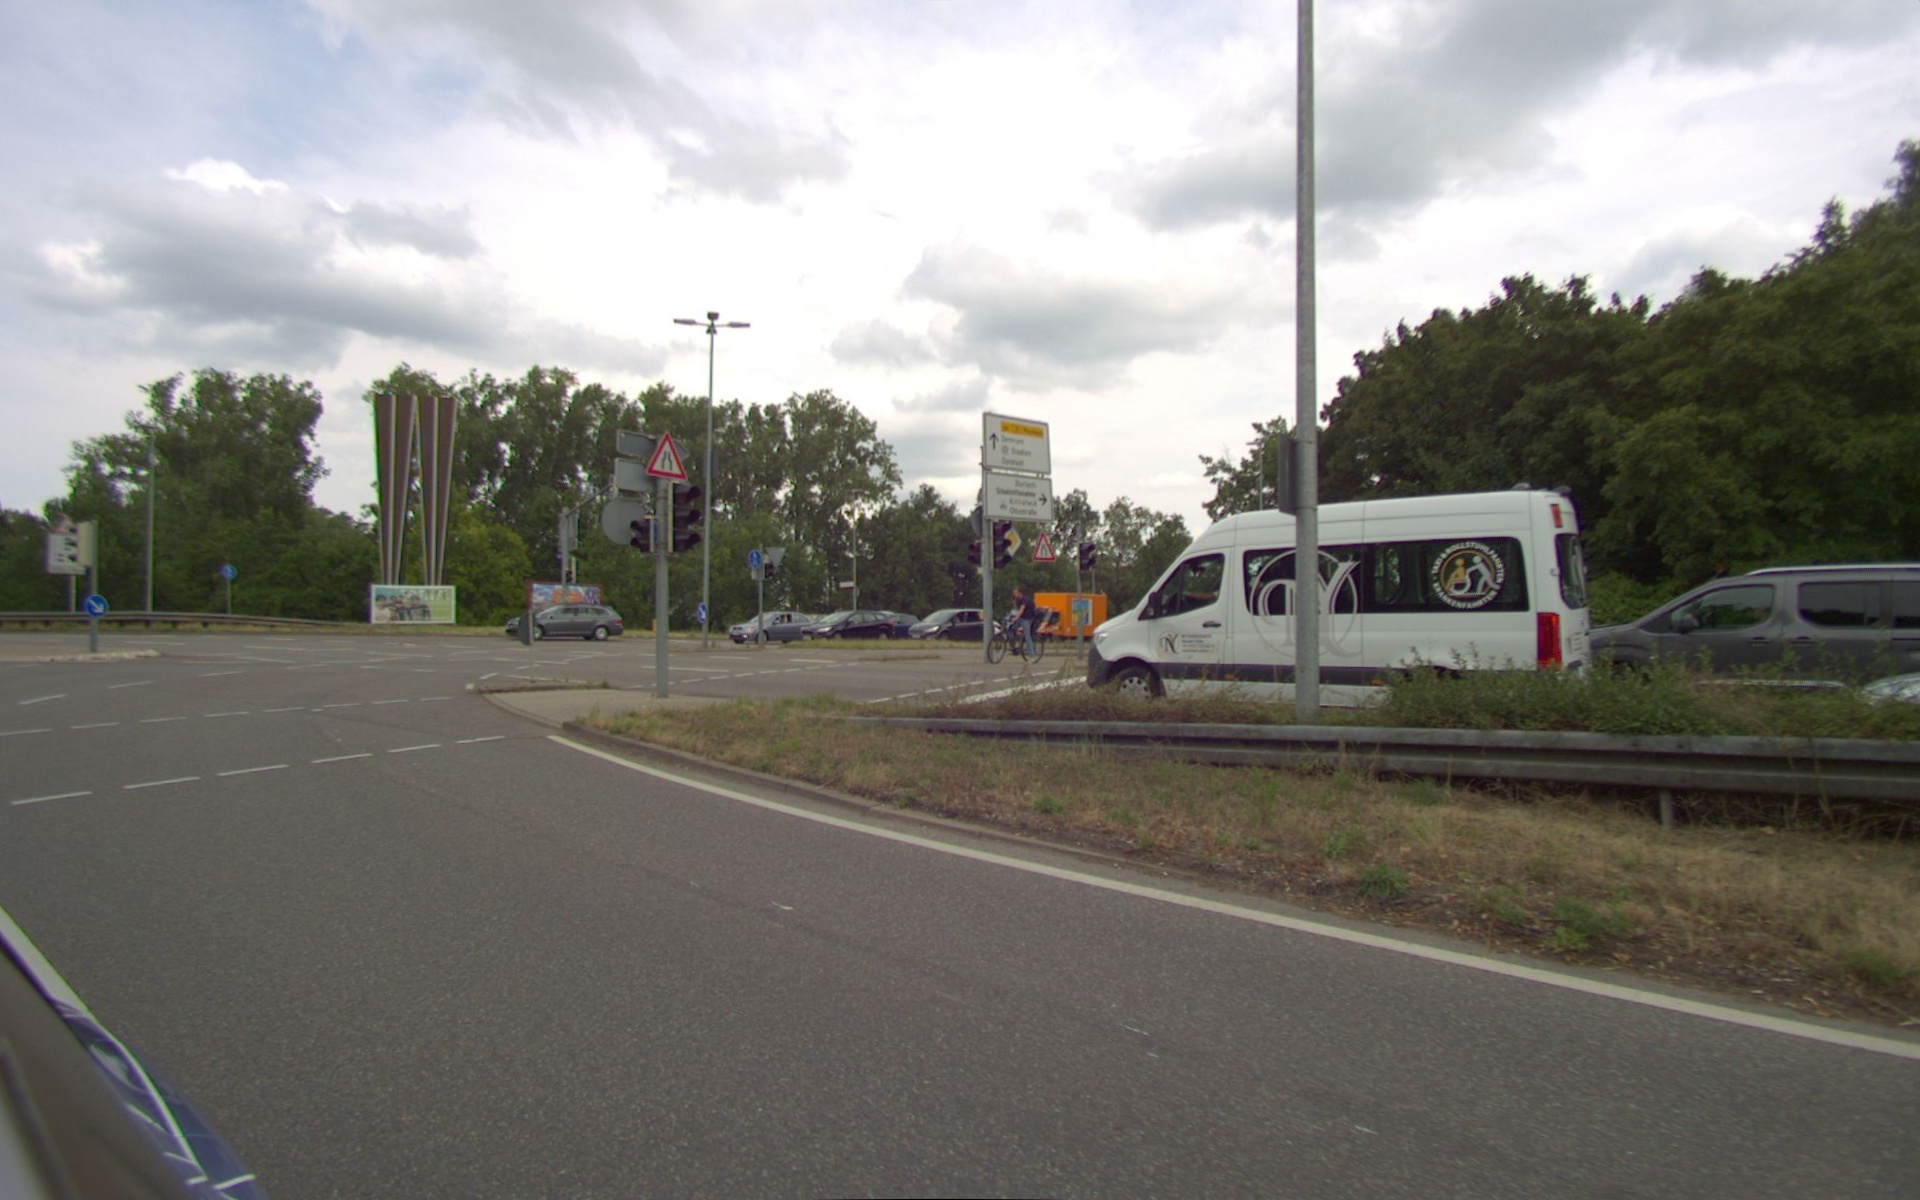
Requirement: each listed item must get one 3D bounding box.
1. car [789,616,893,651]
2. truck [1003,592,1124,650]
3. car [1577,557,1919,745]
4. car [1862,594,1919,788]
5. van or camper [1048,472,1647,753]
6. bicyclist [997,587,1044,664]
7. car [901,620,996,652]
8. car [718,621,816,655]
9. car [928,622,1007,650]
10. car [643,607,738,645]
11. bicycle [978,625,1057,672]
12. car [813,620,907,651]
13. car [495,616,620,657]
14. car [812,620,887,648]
[{"bbox_3d":[-4.827,1.314,41.356,1.997,1.320,4.020,-1,-1,38],"label":"car"},{"bbox_3d":[6.334,1.173,60.162,2.966,3.159,9.162,-1,-1,36],"label":"truck"},{"bbox_3d":[9.770,0.530,11.711,4.168,1.916,1.971,-1,-1,44],"label":"car"},{"bbox_3d":[9.505,0.697,7.346,4.399,1.510,1.972,-1,-1,42],"label":"car"},{"bbox_3d":[4.326,0.143,12.329,6.492,2.608,2.138,-1,-1,41],"label":"van or camper"},{"bbox_3d":[1.415,0.590,23.630,0.734,1.748,0.801,2,-2,-42],"label":"bicyclist"},{"bbox_3d":[-0.474,1.592,46.078,1.997,1.320,4.516,-1,-1,38],"label":"car"},{"bbox_3d":[-8.206,1.604,43.268,1.997,1.320,3.758,-1,-1,38],"label":"car"},{"bbox_3d":[0.429,1.824,52.704,1.997,1.320,4.283,-1,-1,38],"label":"car"},{"bbox_3d":[-13.214,1.226,49.785,1.926,1.796,4.199,-1,-1,41],"label":"car"},{"bbox_3d":[1.360,1.132,23.586,1.915,1.060,0.709,3,-3,-43],"label":"bicycle"},{"bbox_3d":[-4.582,1.611,46.850,1.997,1.320,4.283,-1,-1,38],"label":"car"},{"bbox_3d":[-16.124,1.425,40.609,4.307,1.500,2.004,0,-1,-38],"label":"car"},{"bbox_3d":[-5.542,1.705,51.110,1.641,1.320,3.837,-1,-1,36],"label":"car"}]
